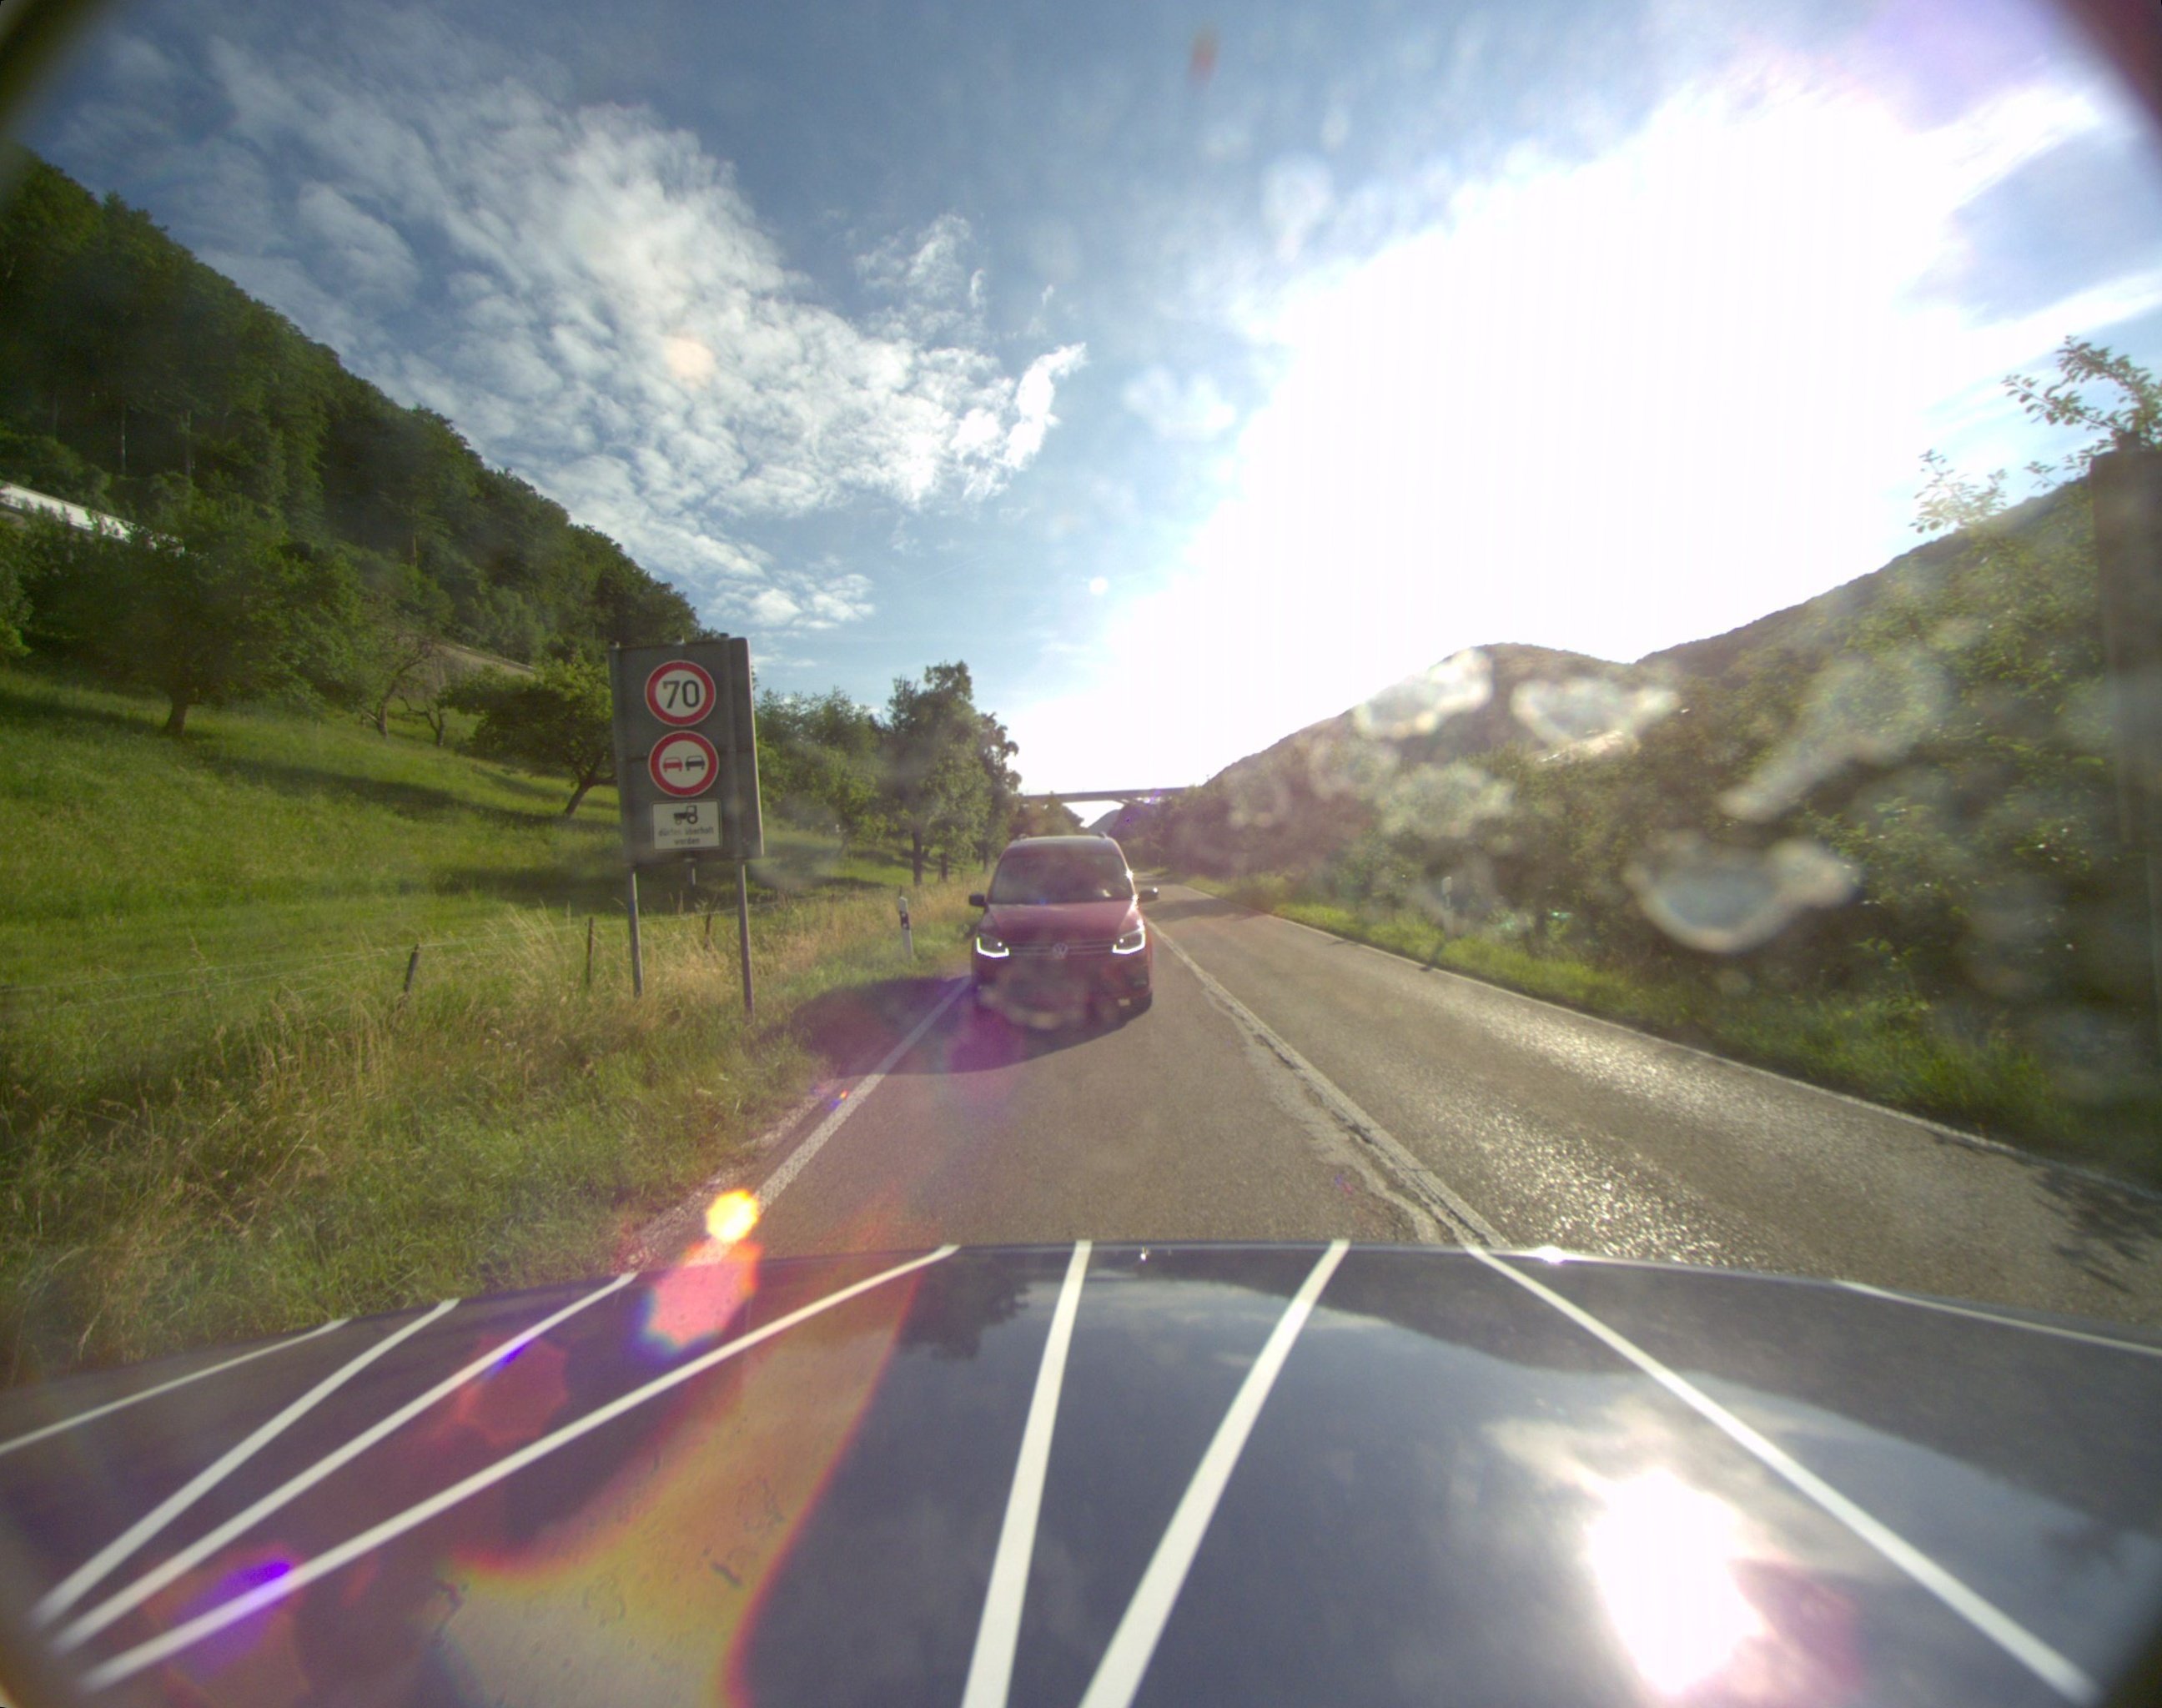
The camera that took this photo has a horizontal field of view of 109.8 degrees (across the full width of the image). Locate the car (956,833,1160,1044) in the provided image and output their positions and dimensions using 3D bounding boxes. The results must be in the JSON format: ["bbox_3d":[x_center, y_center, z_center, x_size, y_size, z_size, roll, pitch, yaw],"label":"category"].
[{"bbox_3d":[-0.223,0.744,8.633,1.741,1.803,4.000,-1,0,-1],"label":"car"}]

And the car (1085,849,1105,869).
[{"bbox_3d":[1.459,0.504,78.827,1.998,2.002,3.999,-2,1,1],"label":"car"}]

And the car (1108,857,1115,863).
[{"bbox_3d":[7.996,1.502,197.858,1.696,1.401,3.663,-1,0,1],"label":"car"}]
